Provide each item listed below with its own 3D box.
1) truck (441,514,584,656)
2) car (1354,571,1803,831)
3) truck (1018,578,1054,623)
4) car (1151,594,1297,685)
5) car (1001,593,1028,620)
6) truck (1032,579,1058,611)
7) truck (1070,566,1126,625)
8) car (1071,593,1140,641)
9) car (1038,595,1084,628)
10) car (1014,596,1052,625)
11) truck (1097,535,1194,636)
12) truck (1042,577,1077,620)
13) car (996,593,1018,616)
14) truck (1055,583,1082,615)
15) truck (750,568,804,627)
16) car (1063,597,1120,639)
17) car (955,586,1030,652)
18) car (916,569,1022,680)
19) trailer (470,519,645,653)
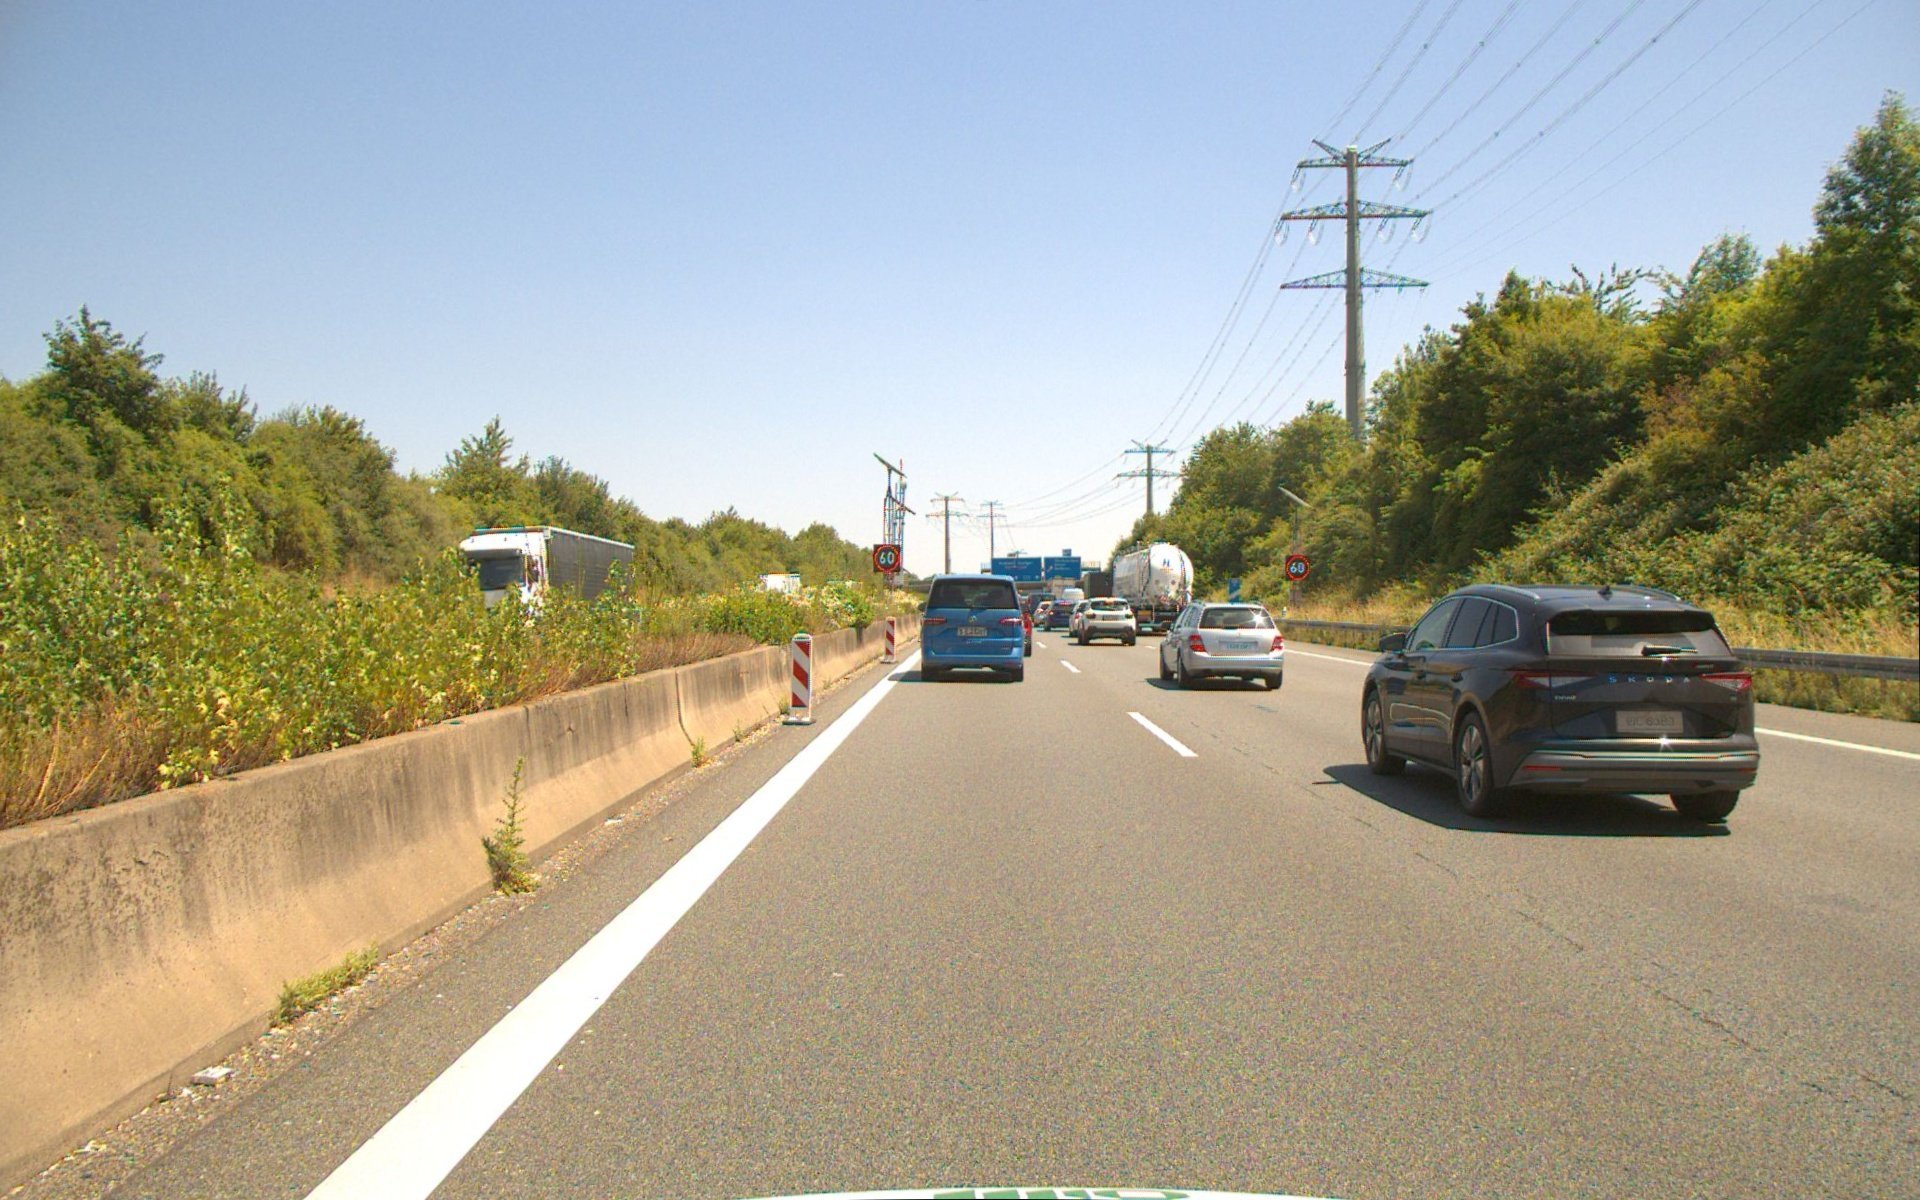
[{"bbox_3d":[-14.572,-0.459,54.388,2.695,4.239,6.411,-3,0,0],"label":"truck"},{"bbox_3d":[4.471,0.634,12.756,1.790,1.642,4.430,0,0,0],"label":"car"},{"bbox_3d":[4.798,0.040,105.062,1.953,2.771,5.679,1,0,0],"label":"truck"},{"bbox_3d":[4.555,0.644,29.181,1.784,1.462,4.382,1,0,-1],"label":"car"},{"bbox_3d":[4.204,0.503,127.960,1.953,2.049,4.000,1,0,0],"label":"car"},{"bbox_3d":[12.038,-0.717,234.310,2.878,4.366,12.550,1,0,0],"label":"truck"},{"bbox_3d":[9.090,-0.282,110.055,2.590,3.600,12.550,1,0,0],"label":"truck"},{"bbox_3d":[4.826,0.553,55.383,1.870,1.534,3.920,1,0,-1],"label":"car"},{"bbox_3d":[4.850,0.545,79.725,1.870,1.542,4.382,1,0,-1],"label":"car"},{"bbox_3d":[4.082,0.573,92.901,1.870,1.542,4.382,1,0,-1],"label":"car"},{"bbox_3d":[8.401,-0.603,77.059,2.590,4.143,16.439,1,0,0],"label":"truck"},{"bbox_3d":[10.554,-0.183,176.501,2.878,4.366,12.550,1,0,0],"label":"truck"},{"bbox_3d":[4.297,0.365,152.007,1.952,2.049,4.000,1,0,1],"label":"car"},{"bbox_3d":[9.524,-0.077,146.033,1.953,2.771,5.679,1,0,0],"label":"truck"},{"bbox_3d":[-13.222,-0.184,120.361,2.706,3.956,9.029,-3,0,0],"label":"truck"},{"bbox_3d":[5.285,0.712,67.073,1.870,1.597,4.382,1,0,-1],"label":"car"},{"bbox_3d":[0.811,0.478,43.769,1.869,1.659,4.383,0,0,0],"label":"car"},{"bbox_3d":[0.108,0.424,31.063,1.833,1.912,4.382,1,0,-1],"label":"car"},{"bbox_3d":[-14.541,-0.458,61.278,2.697,4.239,14.197,-3,0,0],"label":"trailer"}]
